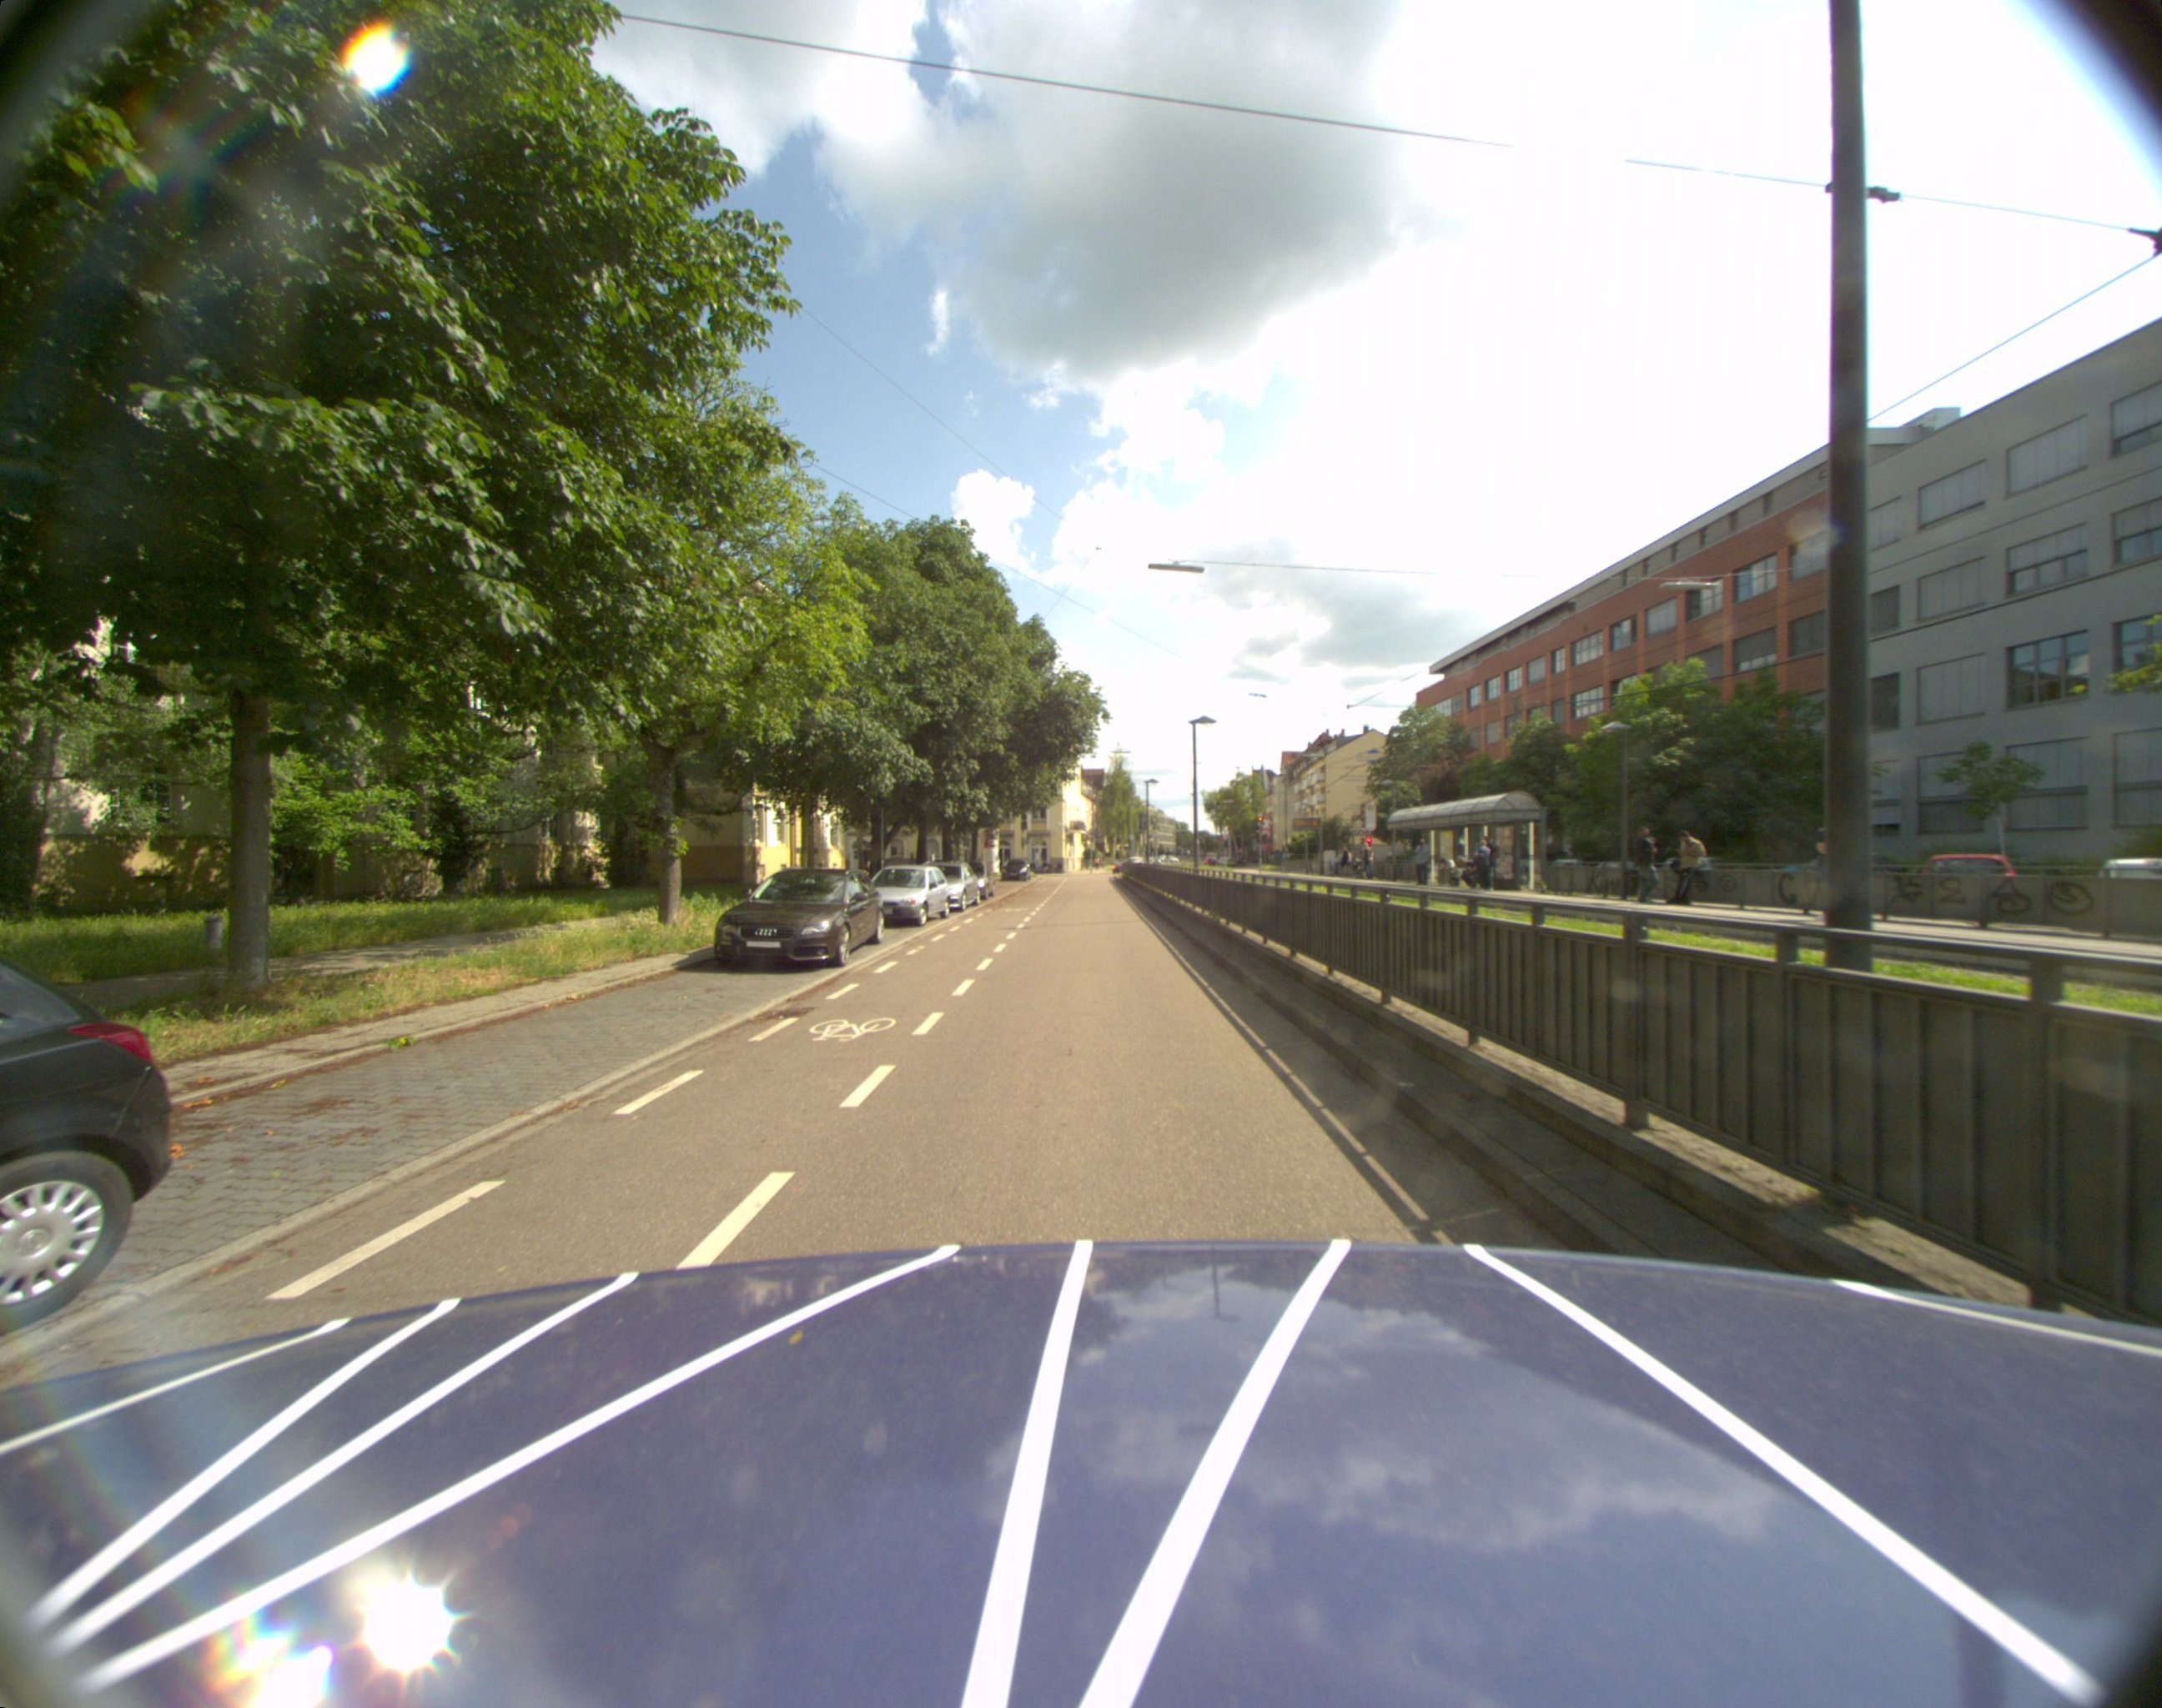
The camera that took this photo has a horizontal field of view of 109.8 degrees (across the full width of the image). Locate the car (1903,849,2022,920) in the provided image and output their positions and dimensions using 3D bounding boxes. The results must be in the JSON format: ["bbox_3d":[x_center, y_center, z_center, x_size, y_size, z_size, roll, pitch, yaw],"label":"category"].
[{"bbox_3d":[22.809,0.692,19.624,4.144,1.630,1.829,-1,1,-39],"label":"car"}]

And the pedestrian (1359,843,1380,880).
[{"bbox_3d":[13.616,0.345,35.897,0.640,1.714,0.798,0,1,-2],"label":"pedestrian"}]

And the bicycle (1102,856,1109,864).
[{"bbox_3d":[3.397,0.801,104.259,0.772,1.097,2.571,0,-1,-2],"label":"bicycle"}]

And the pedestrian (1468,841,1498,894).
[{"bbox_3d":[12.453,0.424,23.535,0.598,1.623,0.558,0,0,-13],"label":"pedestrian"}]

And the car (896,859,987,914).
[{"bbox_3d":[-4.241,0.932,23.908,1.833,1.433,5.049,3,0,1],"label":"car"}]

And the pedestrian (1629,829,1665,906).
[{"bbox_3d":[13.021,0.297,17.490,0.607,1.744,0.626,1,2,41],"label":"pedestrian"}]

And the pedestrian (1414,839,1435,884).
[{"bbox_3d":[13.167,0.287,29.143,0.487,1.716,0.623,-1,1,-2],"label":"pedestrian"}]

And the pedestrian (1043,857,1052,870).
[{"bbox_3d":[-3.329,0.948,74.832,0.804,1.238,0.892,-1,2,3],"label":"pedestrian"}]

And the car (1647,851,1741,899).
[{"bbox_3d":[22.808,0.757,28.232,4.007,1.520,1.668,-3,0,-36],"label":"car"}]

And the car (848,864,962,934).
[{"bbox_3d":[-4.185,1.016,18.699,1.639,1.423,4.016,2,0,3],"label":"car"}]

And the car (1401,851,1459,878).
[{"bbox_3d":[22.537,0.637,49.020,3.850,1.649,1.870,-1,0,-38],"label":"car"}]

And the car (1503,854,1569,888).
[{"bbox_3d":[22.080,0.797,36.850,3.072,1.402,1.668,-3,3,-35],"label":"car"}]

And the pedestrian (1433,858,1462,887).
[{"bbox_3d":[13.363,0.657,27.703,0.721,1.025,0.623,1,1,-2],"label":"pedestrian"}]

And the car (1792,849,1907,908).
[{"bbox_3d":[22.800,0.674,22.519,4.007,1.559,1.605,-1,0,-33],"label":"car"}]

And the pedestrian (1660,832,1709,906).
[{"bbox_3d":[13.769,0.329,17.353,0.608,1.665,0.625,-1,1,1],"label":"pedestrian"}]

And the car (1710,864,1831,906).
[{"bbox_3d":[23.256,1.003,25.618,4.005,1.143,1.789,-3,0,-29],"label":"car"}]

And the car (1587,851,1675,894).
[{"bbox_3d":[22.611,0.722,31.208,4.006,1.520,1.668,-3,0,-35],"label":"car"}]

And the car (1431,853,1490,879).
[{"bbox_3d":[23.396,0.713,46.818,4.007,1.487,1.646,-1,0,-36],"label":"car"}]

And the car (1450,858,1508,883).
[{"bbox_3d":[22.669,0.916,43.226,3.258,1.296,1.599,-1,0,-35],"label":"car"}]

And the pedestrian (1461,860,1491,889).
[{"bbox_3d":[13.643,0.708,26.233,0.706,0.989,0.562,1,1,-2],"label":"pedestrian"}]

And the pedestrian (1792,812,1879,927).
[{"bbox_3d":[12.608,0.245,12.722,0.752,1.881,0.638,-1,3,3],"label":"pedestrian"}]

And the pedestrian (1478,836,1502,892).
[{"bbox_3d":[13.513,0.323,25.098,0.444,1.816,0.623,0,1,-2],"label":"pedestrian"}]

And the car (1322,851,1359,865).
[{"bbox_3d":[28.553,0.447,83.657,3.608,1.470,1.777,0,-3,7],"label":"car"}]

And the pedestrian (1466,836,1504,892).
[{"bbox_3d":[12.818,0.310,24.127,0.634,1.733,1.036,0,1,-2],"label":"pedestrian"}]

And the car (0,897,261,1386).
[{"bbox_3d":[-4.460,0.981,1.158,1.695,1.552,4.307,2,0,1],"label":"car"}]

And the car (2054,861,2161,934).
[{"bbox_3d":[22.583,0.874,16.403,4.031,1.383,1.811,-1,-1,-40],"label":"car"}]

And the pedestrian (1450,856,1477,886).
[{"bbox_3d":[13.783,0.611,27.410,0.655,1.025,0.562,1,1,-2],"label":"pedestrian"}]

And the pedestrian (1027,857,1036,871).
[{"bbox_3d":[-4.862,0.989,74.394,0.804,1.281,0.759,-1,2,3],"label":"pedestrian"}]

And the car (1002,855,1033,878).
[{"bbox_3d":[-4.220,0.804,51.154,1.689,1.379,3.924,1,1,1],"label":"car"}]

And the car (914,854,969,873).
[{"bbox_3d":[-13.377,0.900,72.947,4.828,1.646,1.858,-1,2,11],"label":"car"}]

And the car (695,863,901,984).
[{"bbox_3d":[-4.423,0.983,12.757,1.836,1.458,4.829,2,1,-3],"label":"car"}]

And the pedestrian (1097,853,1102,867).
[{"bbox_3d":[2.243,0.758,91.769,0.593,1.622,0.538,2,1,3],"label":"pedestrian"}]

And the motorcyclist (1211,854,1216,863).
[{"bbox_3d":[21.674,0.741,124.300,0.663,1.350,0.693,-2,1,3],"label":"motorcyclist"}]

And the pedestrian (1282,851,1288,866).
[{"bbox_3d":[23.481,0.549,87.508,0.650,1.700,0.481,-1,1,2],"label":"pedestrian"}]

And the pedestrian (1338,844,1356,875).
[{"bbox_3d":[14.301,0.289,40.912,0.667,1.689,0.798,0,1,-2],"label":"pedestrian"}]

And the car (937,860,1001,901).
[{"bbox_3d":[-4.381,0.989,30.340,1.833,1.392,4.656,3,0,-1],"label":"car"}]

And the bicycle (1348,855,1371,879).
[{"bbox_3d":[13.205,0.613,36.080,0.663,1.107,1.878,1,1,9],"label":"bicycle"}]

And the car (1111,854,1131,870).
[{"bbox_3d":[3.890,0.789,74.864,1.790,1.499,4.000,-2,0,0],"label":"car"}]

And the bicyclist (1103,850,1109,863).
[{"bbox_3d":[3.417,0.350,104.271,0.772,1.663,0.951,-2,-1,-1],"label":"bicyclist"}]

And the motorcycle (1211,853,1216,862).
[{"bbox_3d":[21.686,0.629,124.504,0.634,1.395,2.010,-2,1,3],"label":"motorcycle"}]
